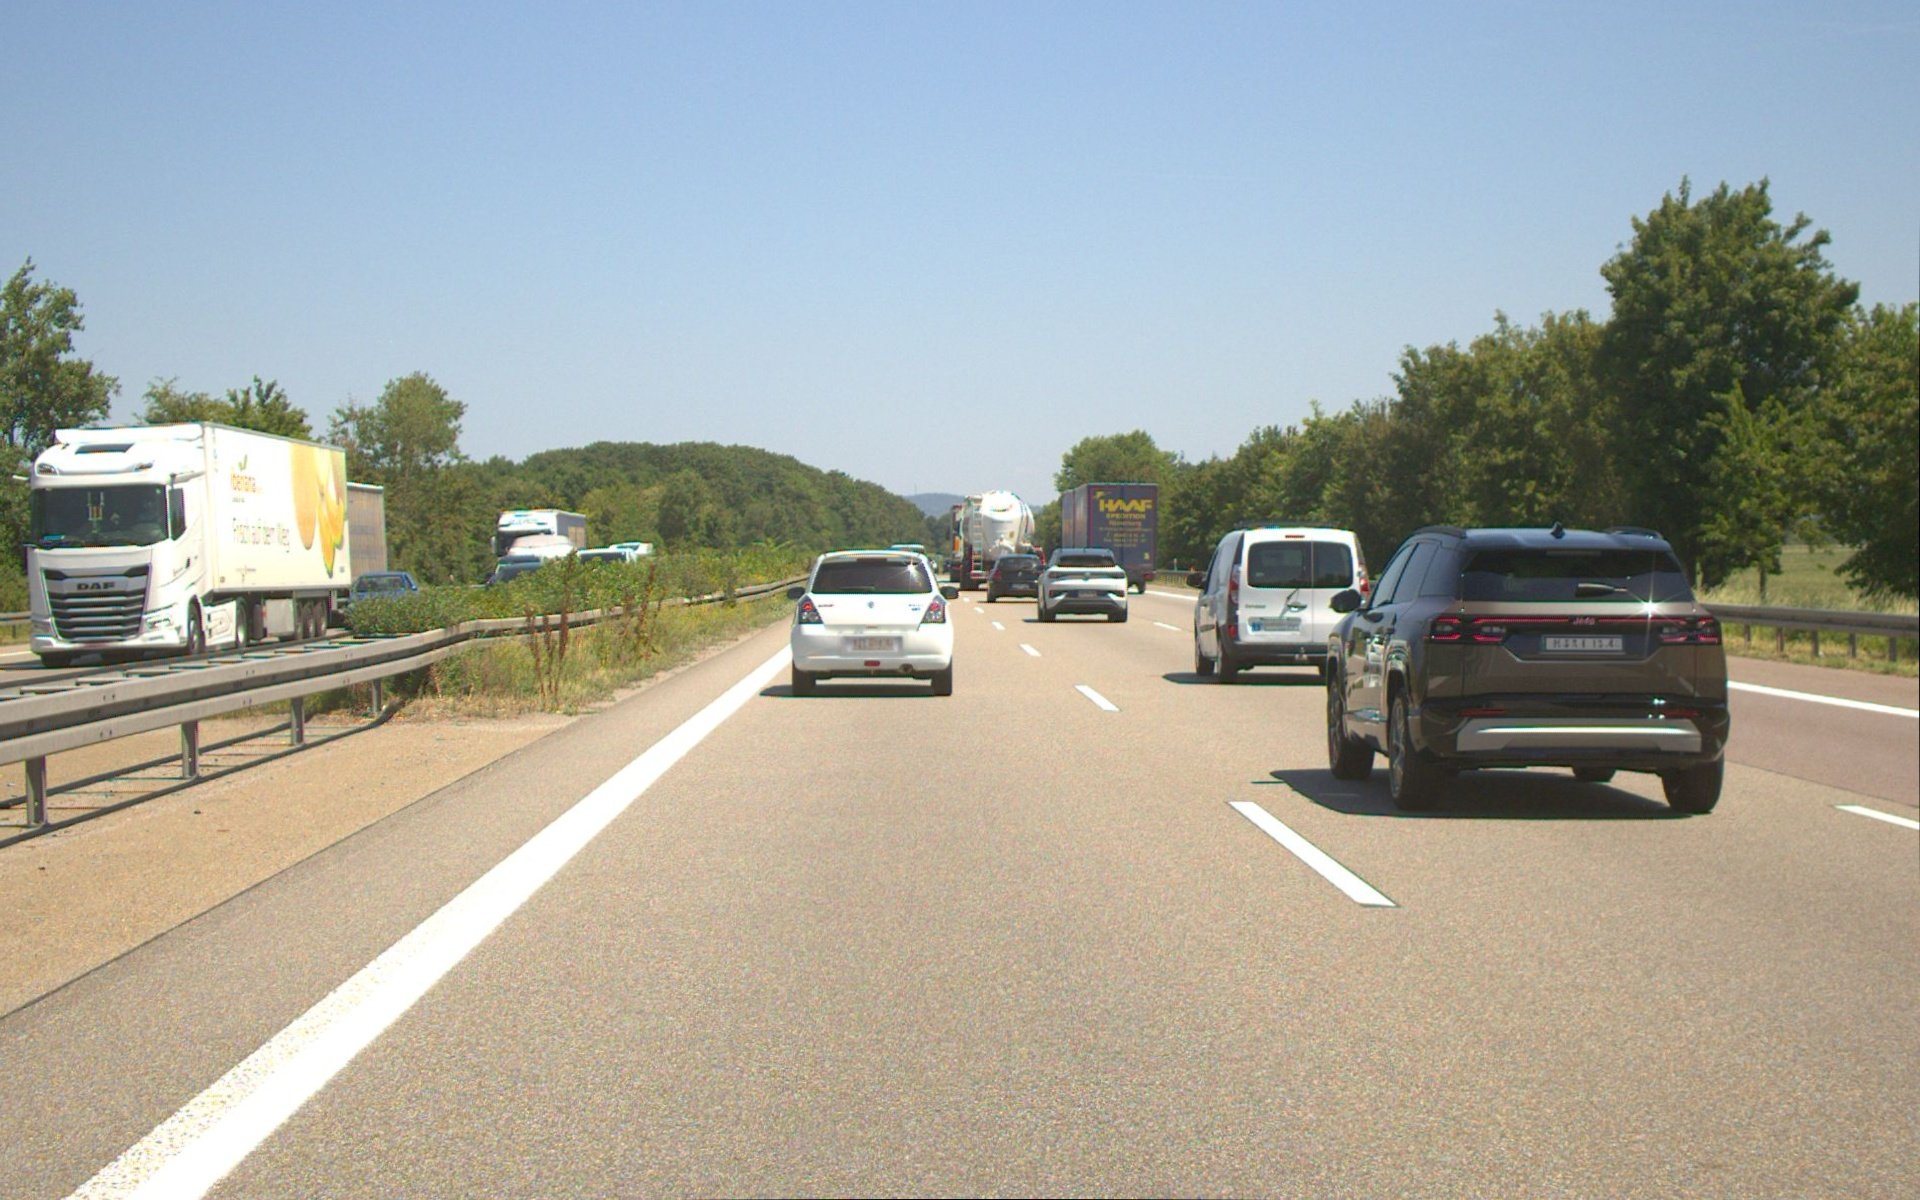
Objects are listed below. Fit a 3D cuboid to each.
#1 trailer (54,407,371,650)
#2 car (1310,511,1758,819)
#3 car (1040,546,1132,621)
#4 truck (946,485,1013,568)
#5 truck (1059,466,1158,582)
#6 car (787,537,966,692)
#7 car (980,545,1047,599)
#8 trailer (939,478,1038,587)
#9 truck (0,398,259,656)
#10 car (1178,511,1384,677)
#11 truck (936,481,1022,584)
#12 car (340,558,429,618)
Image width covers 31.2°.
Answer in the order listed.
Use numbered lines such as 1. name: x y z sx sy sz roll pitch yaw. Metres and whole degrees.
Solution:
1. trailer: -14.048 -1.343 66.137 2.740 4.071 14.347 -2 1 0
2. car: 3.401 0.326 21.306 1.867 1.669 4.746 1 1 -1
3. car: 2.766 -0.391 76.195 1.802 1.597 4.381 1 1 -1
4. truck: 1.023 -3.864 182.611 3.394 4.199 12.083 1 1 0
5. truck: 5.573 -2.838 131.831 3.109 4.124 15.511 1 1 0
6. car: -0.892 0.121 36.772 1.799 1.546 3.610 1 1 -1
7. car: 1.572 -0.836 101.588 1.850 1.518 3.957 1 1 -1
8. trailer: 1.044 -2.634 136.241 2.911 4.055 12.420 1 1 -4
9. truck: -14.108 -1.227 58.838 2.740 4.071 6.217 -2 1 0
10. car: 3.777 -0.099 41.172 1.853 1.856 4.703 1 1 -2
11. truck: 0.730 -2.757 140.625 2.911 4.065 7.196 1 1 -4
12. car: -14.392 -0.321 86.172 1.572 1.382 3.968 -3 1 -1
